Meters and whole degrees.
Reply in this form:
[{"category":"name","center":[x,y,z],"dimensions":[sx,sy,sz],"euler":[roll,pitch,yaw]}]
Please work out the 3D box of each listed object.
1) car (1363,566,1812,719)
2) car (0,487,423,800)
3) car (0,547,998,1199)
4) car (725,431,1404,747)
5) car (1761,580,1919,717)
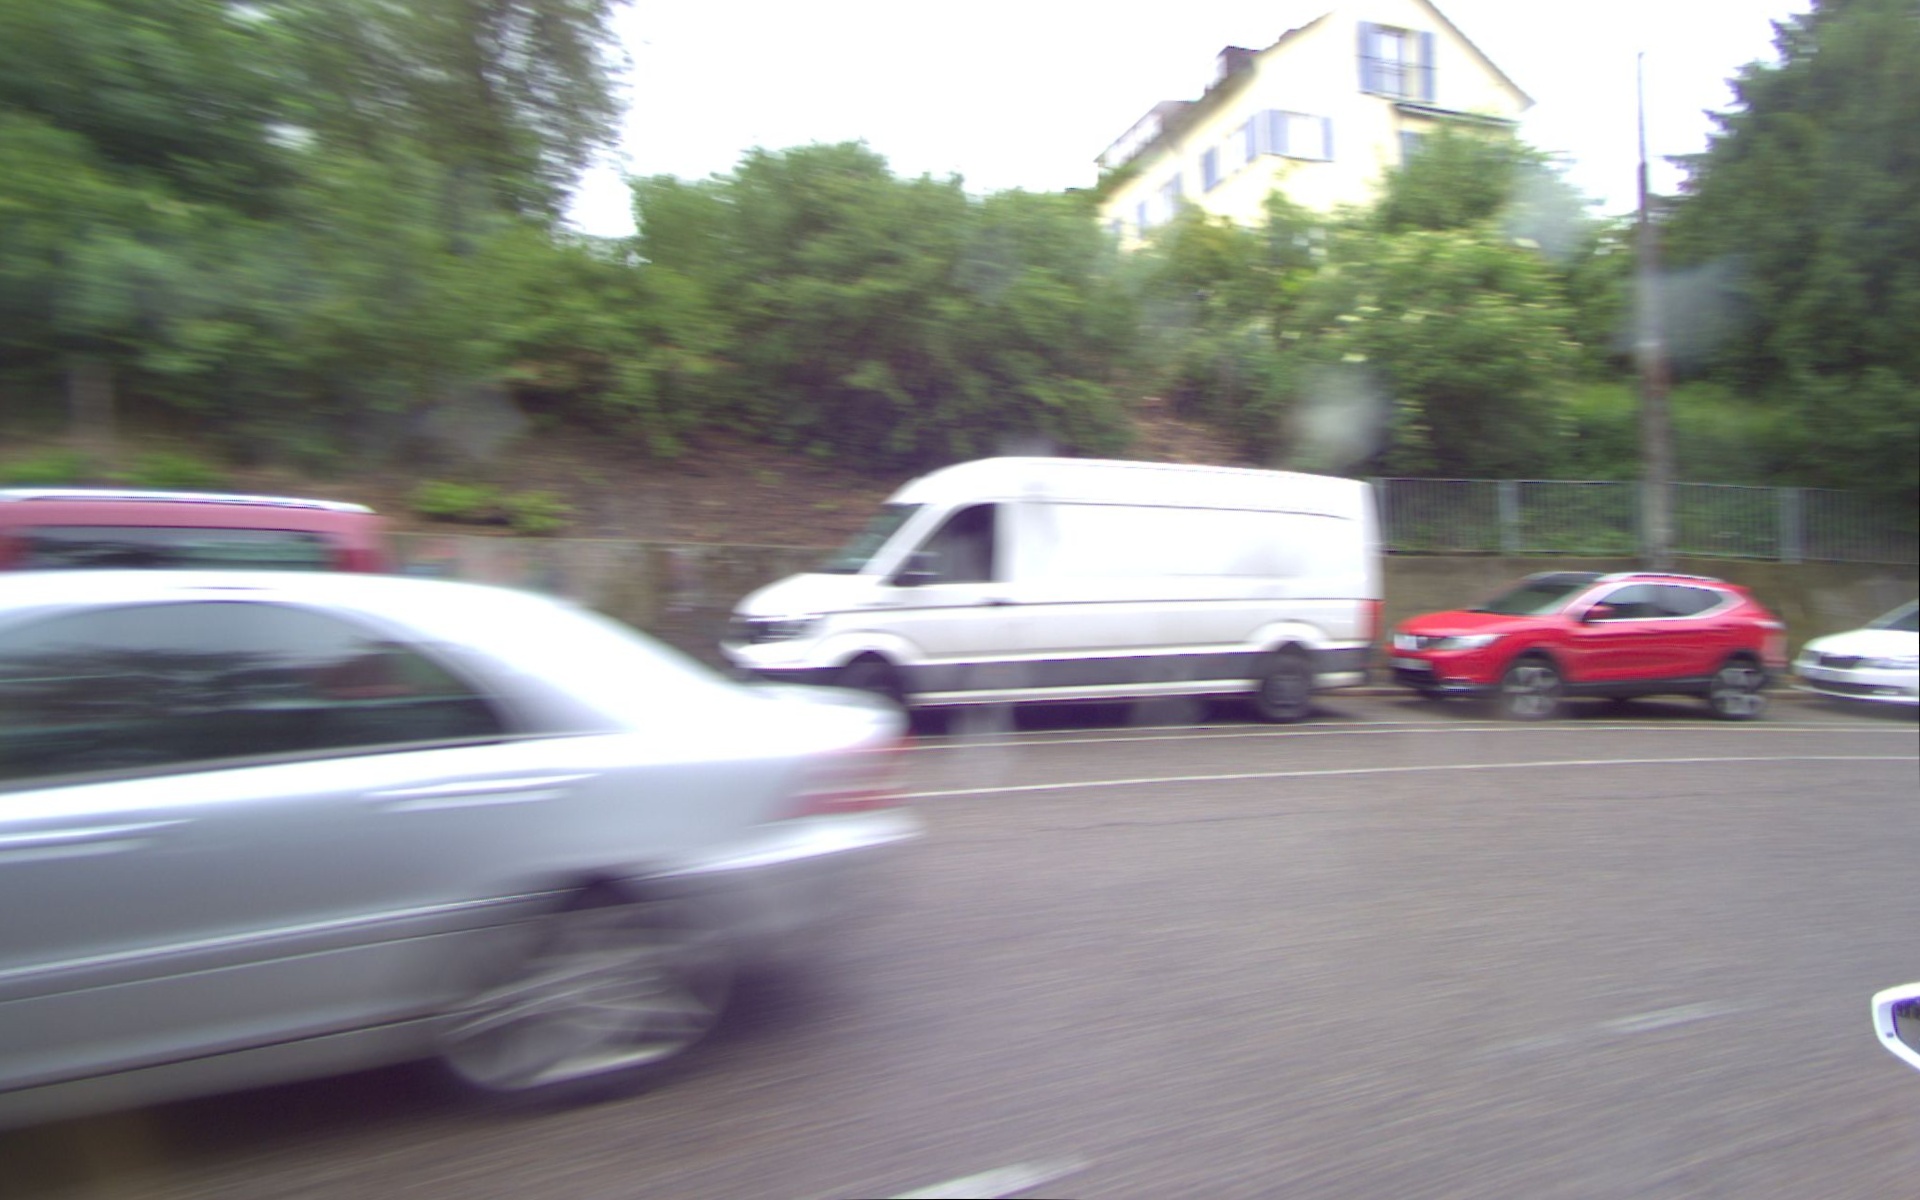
[{"category":"car","center":[7.237,0.455,11.783],"dimensions":[4.352,1.607,1.778],"euler":[1,1,-9]},{"category":"car","center":[-6.484,0.239,6.828],"dimensions":[4.776,1.901,1.979],"euler":[0,1,-37]},{"category":"car","center":[-2.189,0.587,2.897],"dimensions":[4.284,1.404,1.778],"euler":[1,0,-28]},{"category":"car","center":[1.144,-0.082,10.308],"dimensions":[6.720,2.565,2.031],"euler":[0,2,-21]},{"category":"car","center":[12.525,0.552,12.229],"dimensions":[4.115,1.499,1.743],"euler":[1,3,0]}]
